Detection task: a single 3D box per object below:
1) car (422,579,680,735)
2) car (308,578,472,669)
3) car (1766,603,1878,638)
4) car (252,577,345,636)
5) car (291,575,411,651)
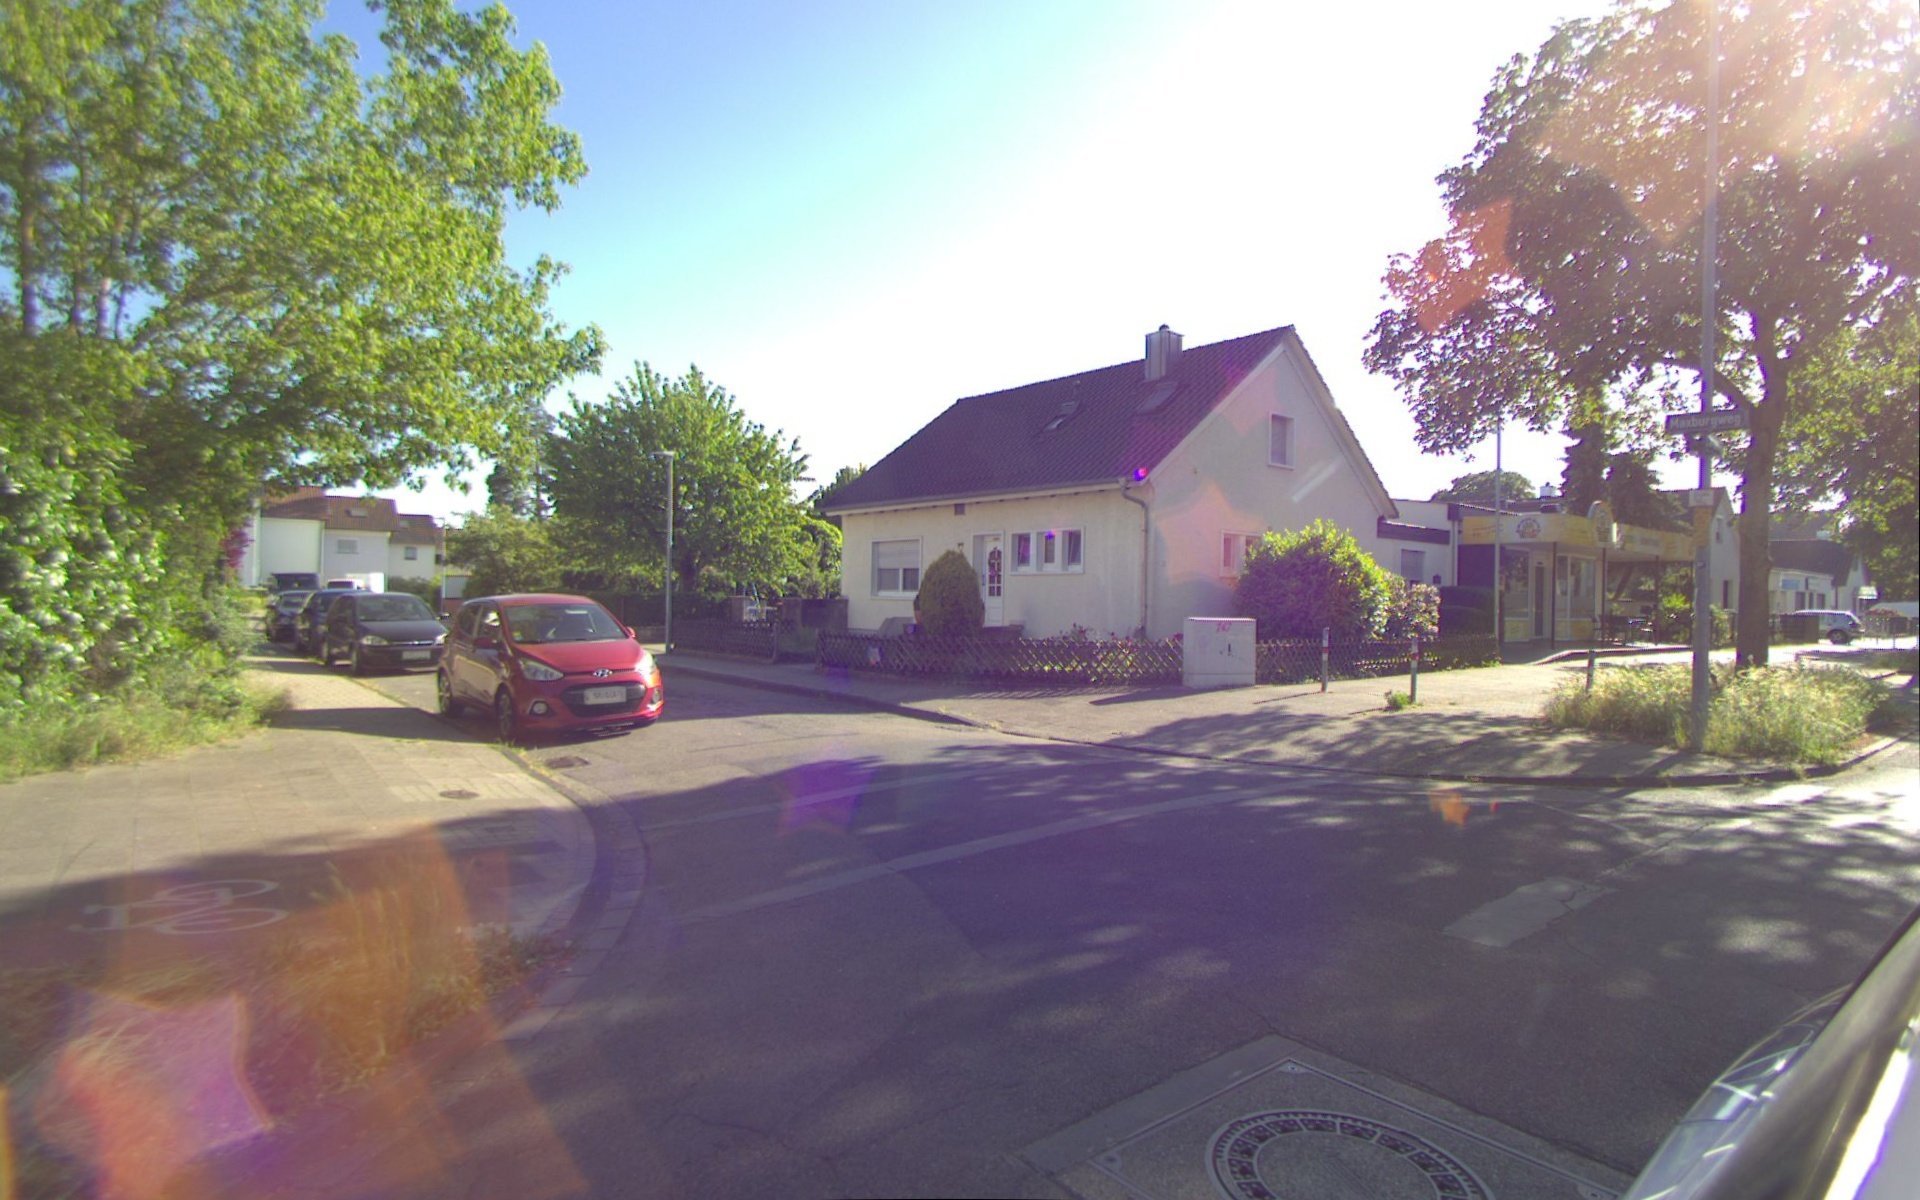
[{"bbox_3d":[-4.871,0.573,11.829,1.612,1.530,3.544,2,-1,-43],"label":"car"},{"bbox_3d":[-10.789,0.368,19.040,1.812,1.530,3.958,1,0,-43],"label":"car"},{"bbox_3d":[38.529,0.934,45.280,1.667,1.458,3.615,0,-3,-42],"label":"car"},{"bbox_3d":[-18.580,0.165,28.366,1.612,1.530,3.544,0,0,-43],"label":"car"},{"bbox_3d":[-13.780,0.239,22.792,1.853,1.530,4.311,1,0,-37],"label":"car"}]
